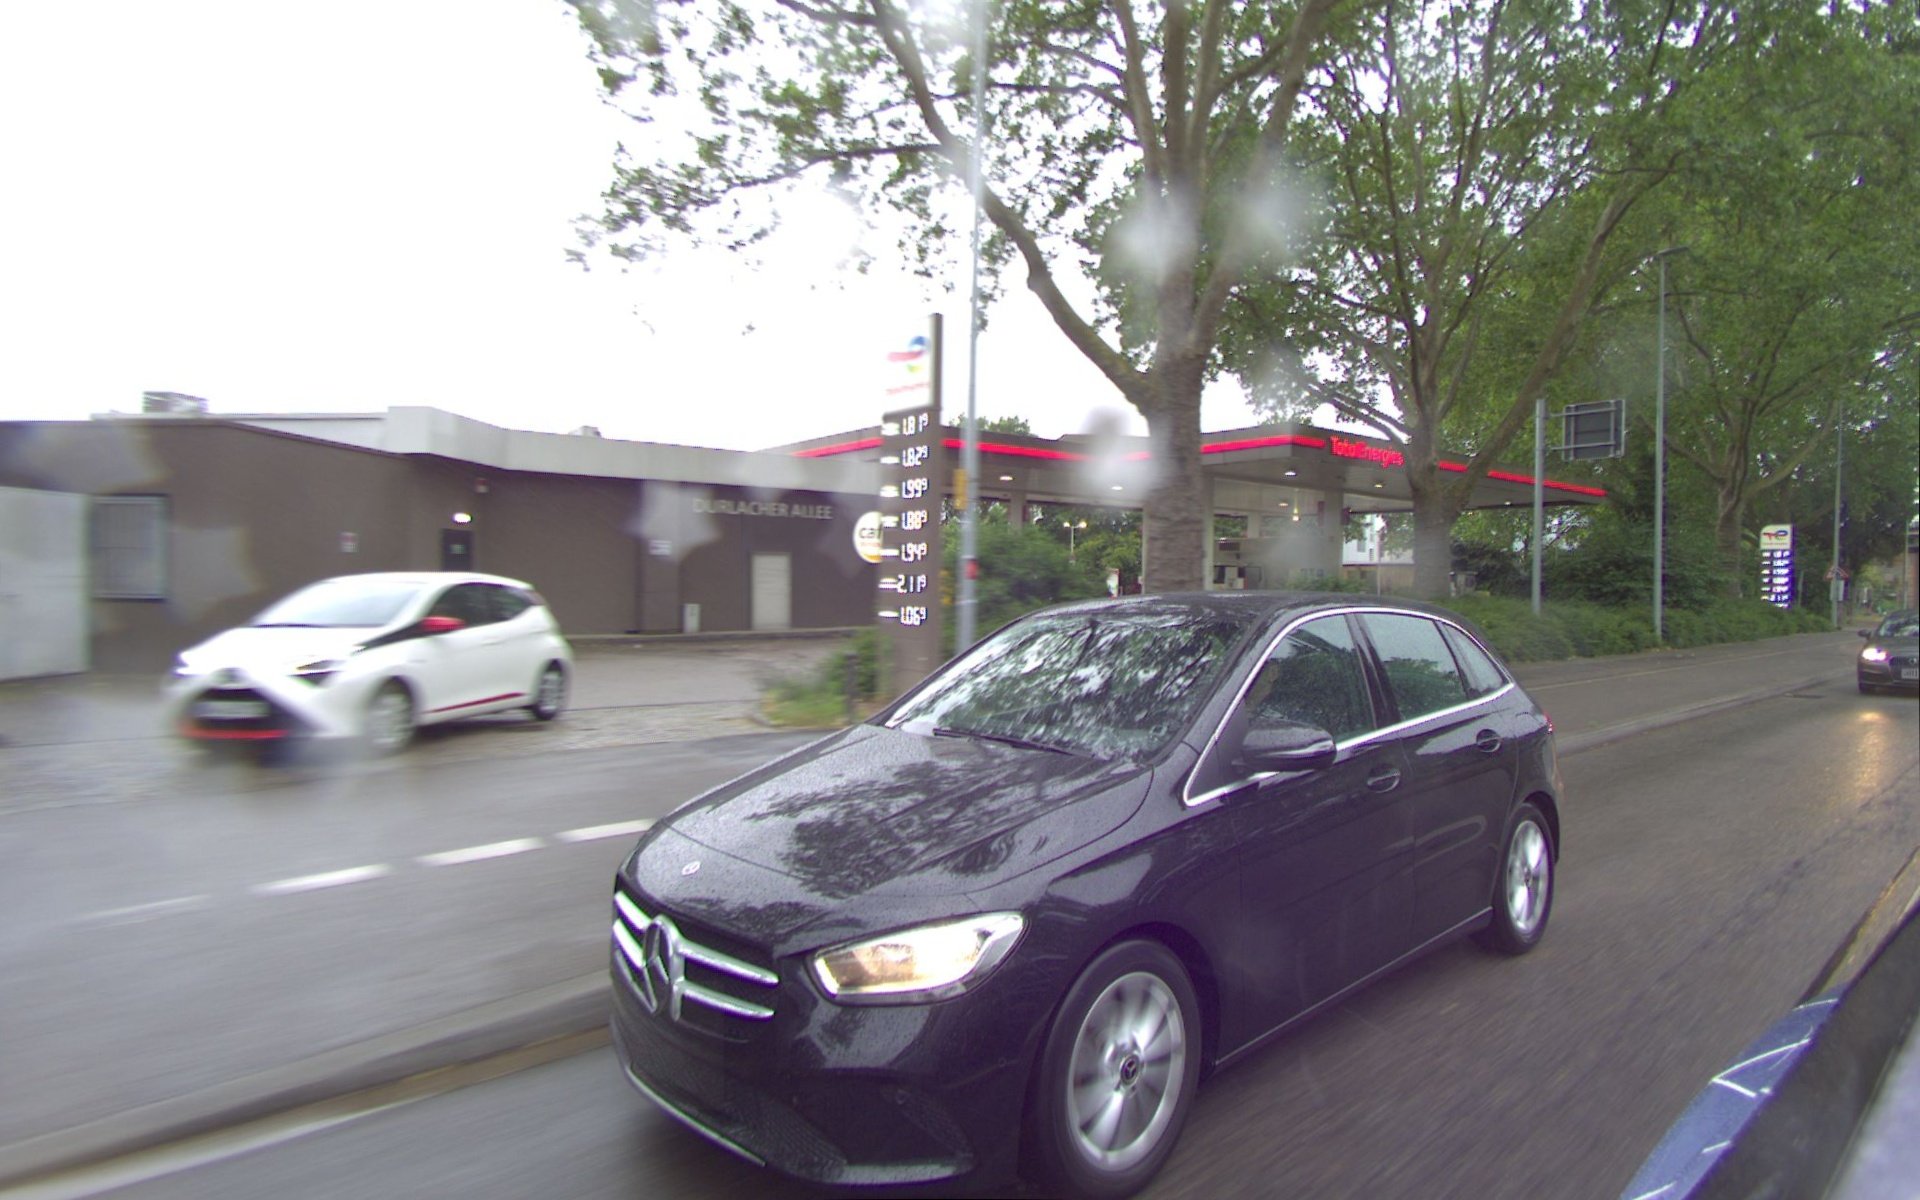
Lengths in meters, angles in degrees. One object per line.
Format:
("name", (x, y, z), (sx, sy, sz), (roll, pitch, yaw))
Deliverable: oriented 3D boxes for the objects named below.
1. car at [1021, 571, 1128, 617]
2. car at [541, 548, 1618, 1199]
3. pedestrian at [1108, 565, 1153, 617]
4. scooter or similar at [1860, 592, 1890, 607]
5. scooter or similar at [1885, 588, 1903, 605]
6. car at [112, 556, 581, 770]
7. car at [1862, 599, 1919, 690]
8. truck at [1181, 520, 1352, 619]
("car", (4.259, -0.224, 37.470), (3.812, 1.613, 1.832), (0, 0, -41))
("car", (0.915, 0.640, 3.918), (4.349, 1.549, 1.818), (-1, 2, -44))
("pedestrian", (6.150, -0.328, 36.533), (1.044, 1.815, 1.224), (0, 1, -38))
("scooter or similar", (63.377, -0.056, 70.129), (1.705, 1.022, 0.454), (0, -1, -3))
("scooter or similar", (65.206, -0.236, 70.647), (1.792, 1.174, 0.454), (0, -1, -33))
("car", (-4.928, 0.431, 8.743), (1.581, 1.450, 3.547), (-1, 0, 9))
("car", (16.751, 0.700, 17.101), (3.713, 1.402, 1.641), (-1, 0, -39))
("truck", (11.747, -1.053, 38.366), (7.638, 3.394, 2.697), (0, 0, -43))
